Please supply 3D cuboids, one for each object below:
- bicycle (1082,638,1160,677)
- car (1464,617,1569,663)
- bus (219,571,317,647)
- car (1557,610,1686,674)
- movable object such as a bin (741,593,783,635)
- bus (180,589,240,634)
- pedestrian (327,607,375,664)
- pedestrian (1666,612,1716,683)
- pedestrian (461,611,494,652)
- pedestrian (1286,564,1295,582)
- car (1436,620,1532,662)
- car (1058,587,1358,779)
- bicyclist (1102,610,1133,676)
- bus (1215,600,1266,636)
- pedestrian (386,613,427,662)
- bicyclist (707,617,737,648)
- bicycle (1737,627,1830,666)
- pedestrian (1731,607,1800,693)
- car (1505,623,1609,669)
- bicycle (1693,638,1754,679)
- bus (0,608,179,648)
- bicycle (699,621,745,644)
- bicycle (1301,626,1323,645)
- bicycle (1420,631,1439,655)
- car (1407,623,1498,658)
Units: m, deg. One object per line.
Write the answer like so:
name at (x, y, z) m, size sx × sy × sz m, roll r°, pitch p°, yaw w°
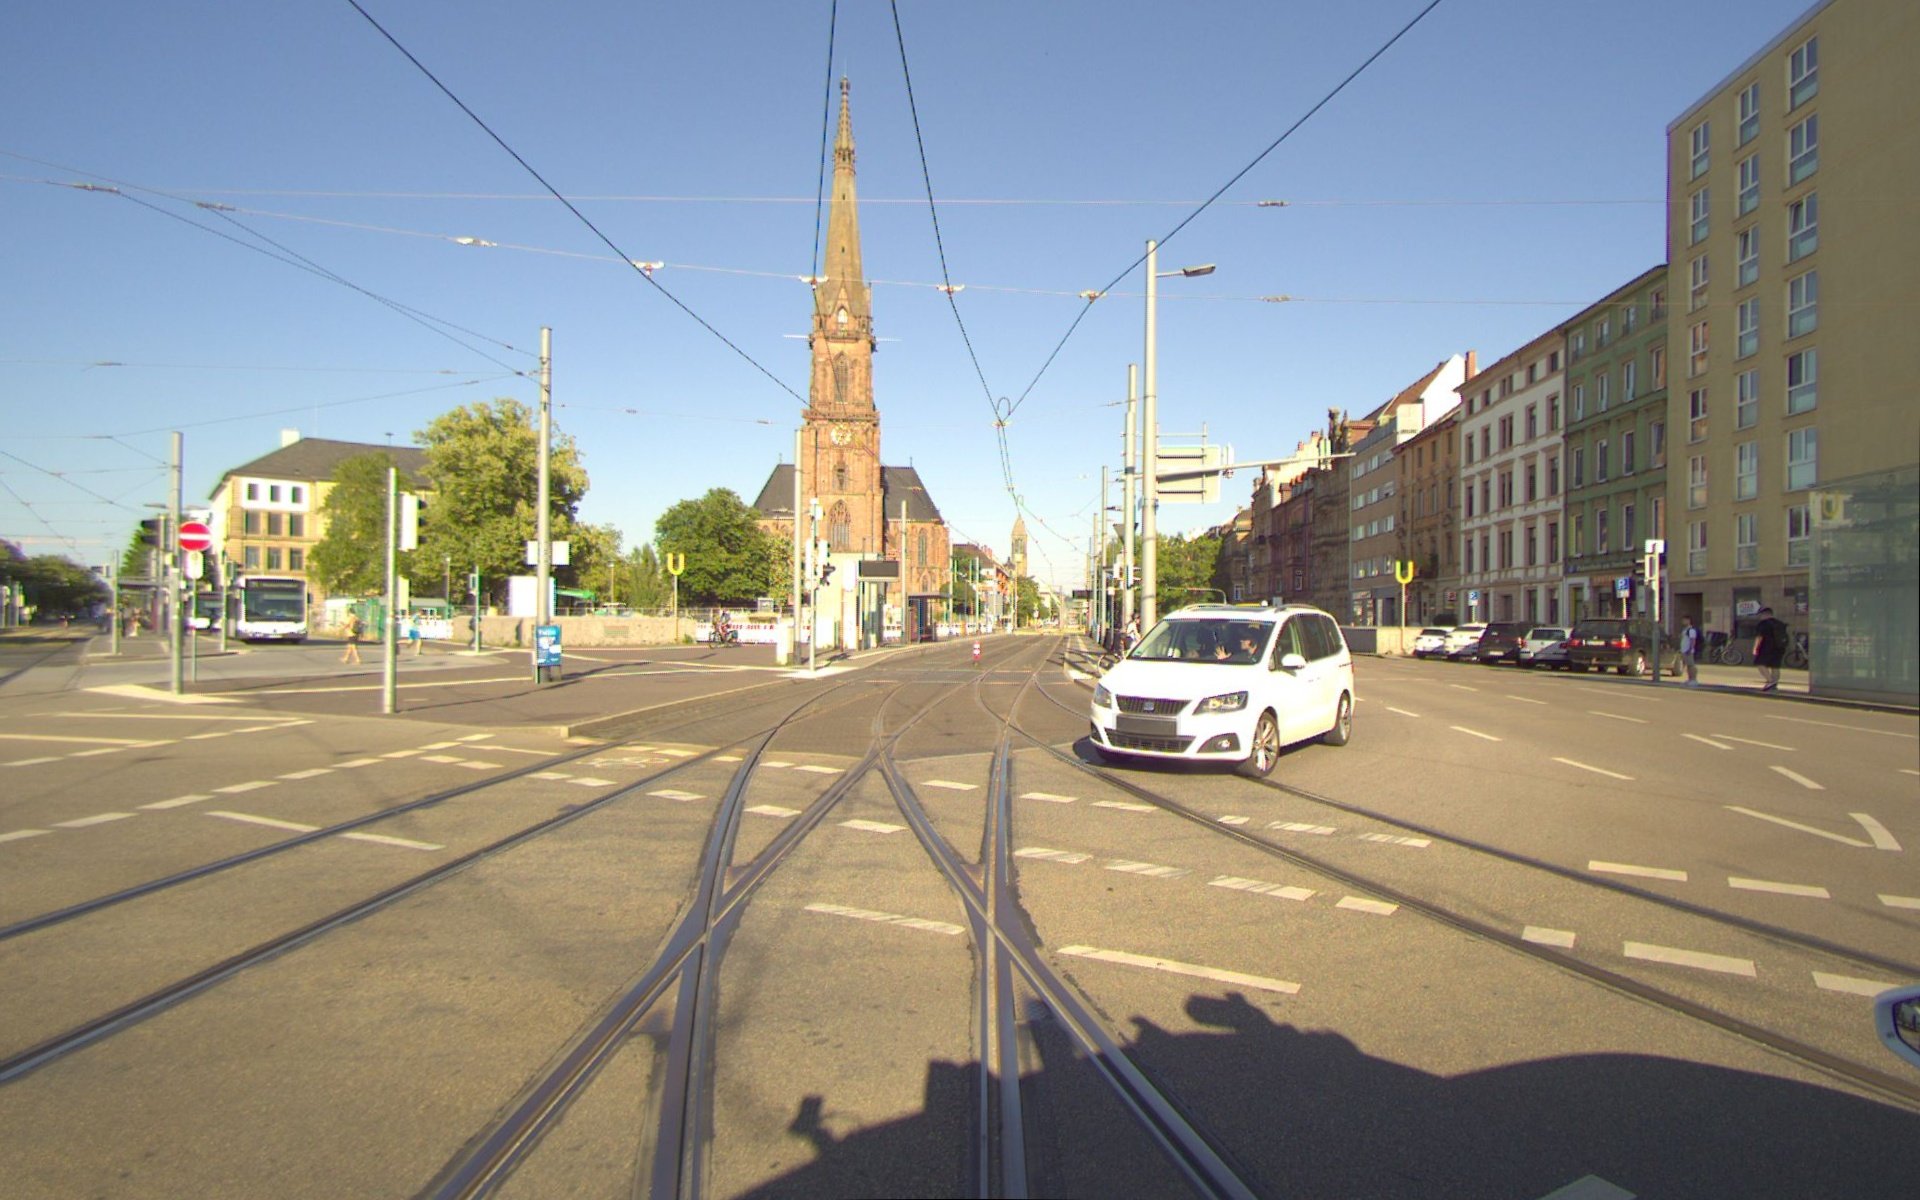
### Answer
bicycle at (4.051, 1.443, 25.427) m, size 1.857 × 0.954 × 0.816 m, roll -1°, pitch -1°, yaw 1°
car at (21.004, 1.515, 37.875) m, size 4.212 × 1.619 × 1.940 m, roll 3°, pitch -1°, yaw -37°
bus at (-33.942, 0.309, 48.994) m, size 2.817 × 3.237 × 12.514 m, roll -2°, pitch 2°, yaw -39°
car at (20.664, 1.299, 31.350) m, size 4.209 × 1.838 × 1.941 m, roll 2°, pitch -1°, yaw -35°
movable object such as a bin at (-12.930, 0.856, 65.691) m, size 2.588 × 2.560 × 5.158 m, roll -1°, pitch 2°, yaw -11°
bus at (-60.411, 0.818, 80.734) m, size 3.224 × 3.237 × 12.514 m, roll -2°, pitch 2°, yaw -39°
pedestrian at (-18.973, 1.094, 31.314) m, size 1.038 × 1.709 × 0.727 m, roll -1°, pitch 2°, yaw -11°
pedestrian at (18.249, 1.176, 25.099) m, size 0.685 × 1.751 × 0.752 m, roll 1°, pitch -1°, yaw -10°
pedestrian at (-21.100, 1.351, 43.893) m, size 0.716 × 1.709 × 1.053 m, roll 0°, pitch 2°, yaw 35°
pedestrian at (37.507, -3.052, 113.946) m, size 0.808 × 1.955 × 1.137 m, roll 0°, pitch -1°, yaw 6°
car at (21.599, 1.706, 41.370) m, size 4.213 × 1.591 × 1.939 m, roll 3°, pitch -1°, yaw -38°
car at (3.039, 0.818, 11.555) m, size 1.909 × 1.756 × 4.450 m, roll -1°, pitch -2°, yaw 35°
bicyclist at (3.988, 1.082, 25.445) m, size 0.662 × 1.637 × 0.816 m, roll -1°, pitch -1°, yaw 2°
bus at (26.679, 1.727, 96.211) m, size 2.669 × 3.223 × 12.549 m, roll -1°, pitch -1°, yaw 6°
pedestrian at (-21.115, 1.412, 38.333) m, size 0.788 × 1.792 × 1.180 m, roll -1°, pitch 2°, yaw 6°
bicyclist at (-10.960, 1.500, 46.276) m, size 0.802 × 1.362 × 0.900 m, roll 5°, pitch 0°, yaw 34°
bicycle at (28.736, 1.586, 35.126) m, size 0.968 × 1.280 × 3.063 m, roll 1°, pitch -1°, yaw 5°
pedestrian at (16.776, 1.030, 20.933) m, size 0.784 × 1.751 × 0.864 m, roll 1°, pitch -1°, yaw -25°
car at (20.467, 1.587, 34.400) m, size 3.858 × 1.418 × 1.769 m, roll 4°, pitch -2°, yaw -38°
bicycle at (29.073, 2.201, 38.306) m, size 0.914 × 1.375 × 2.230 m, roll 0°, pitch 2°, yaw 10°
bus at (-81.702, 2.524, 94.482) m, size 12.467 × 3.237 × 3.236 m, roll -1°, pitch 2°, yaw -20°
bicycle at (-10.965, 1.500, 46.274) m, size 0.802 × 0.954 × 1.997 m, roll 5°, pitch 0°, yaw 33°
bicycle at (23.510, 2.376, 67.116) m, size 0.462 × 1.162 × 1.764 m, roll 1°, pitch 0°, yaw -16°
bicycle at (22.490, 2.050, 48.085) m, size 1.088 × 1.125 × 0.414 m, roll 3°, pitch 0°, yaw -43°
car at (22.079, 1.797, 45.003) m, size 4.072 × 1.483 × 1.943 m, roll 2°, pitch -1°, yaw -35°
